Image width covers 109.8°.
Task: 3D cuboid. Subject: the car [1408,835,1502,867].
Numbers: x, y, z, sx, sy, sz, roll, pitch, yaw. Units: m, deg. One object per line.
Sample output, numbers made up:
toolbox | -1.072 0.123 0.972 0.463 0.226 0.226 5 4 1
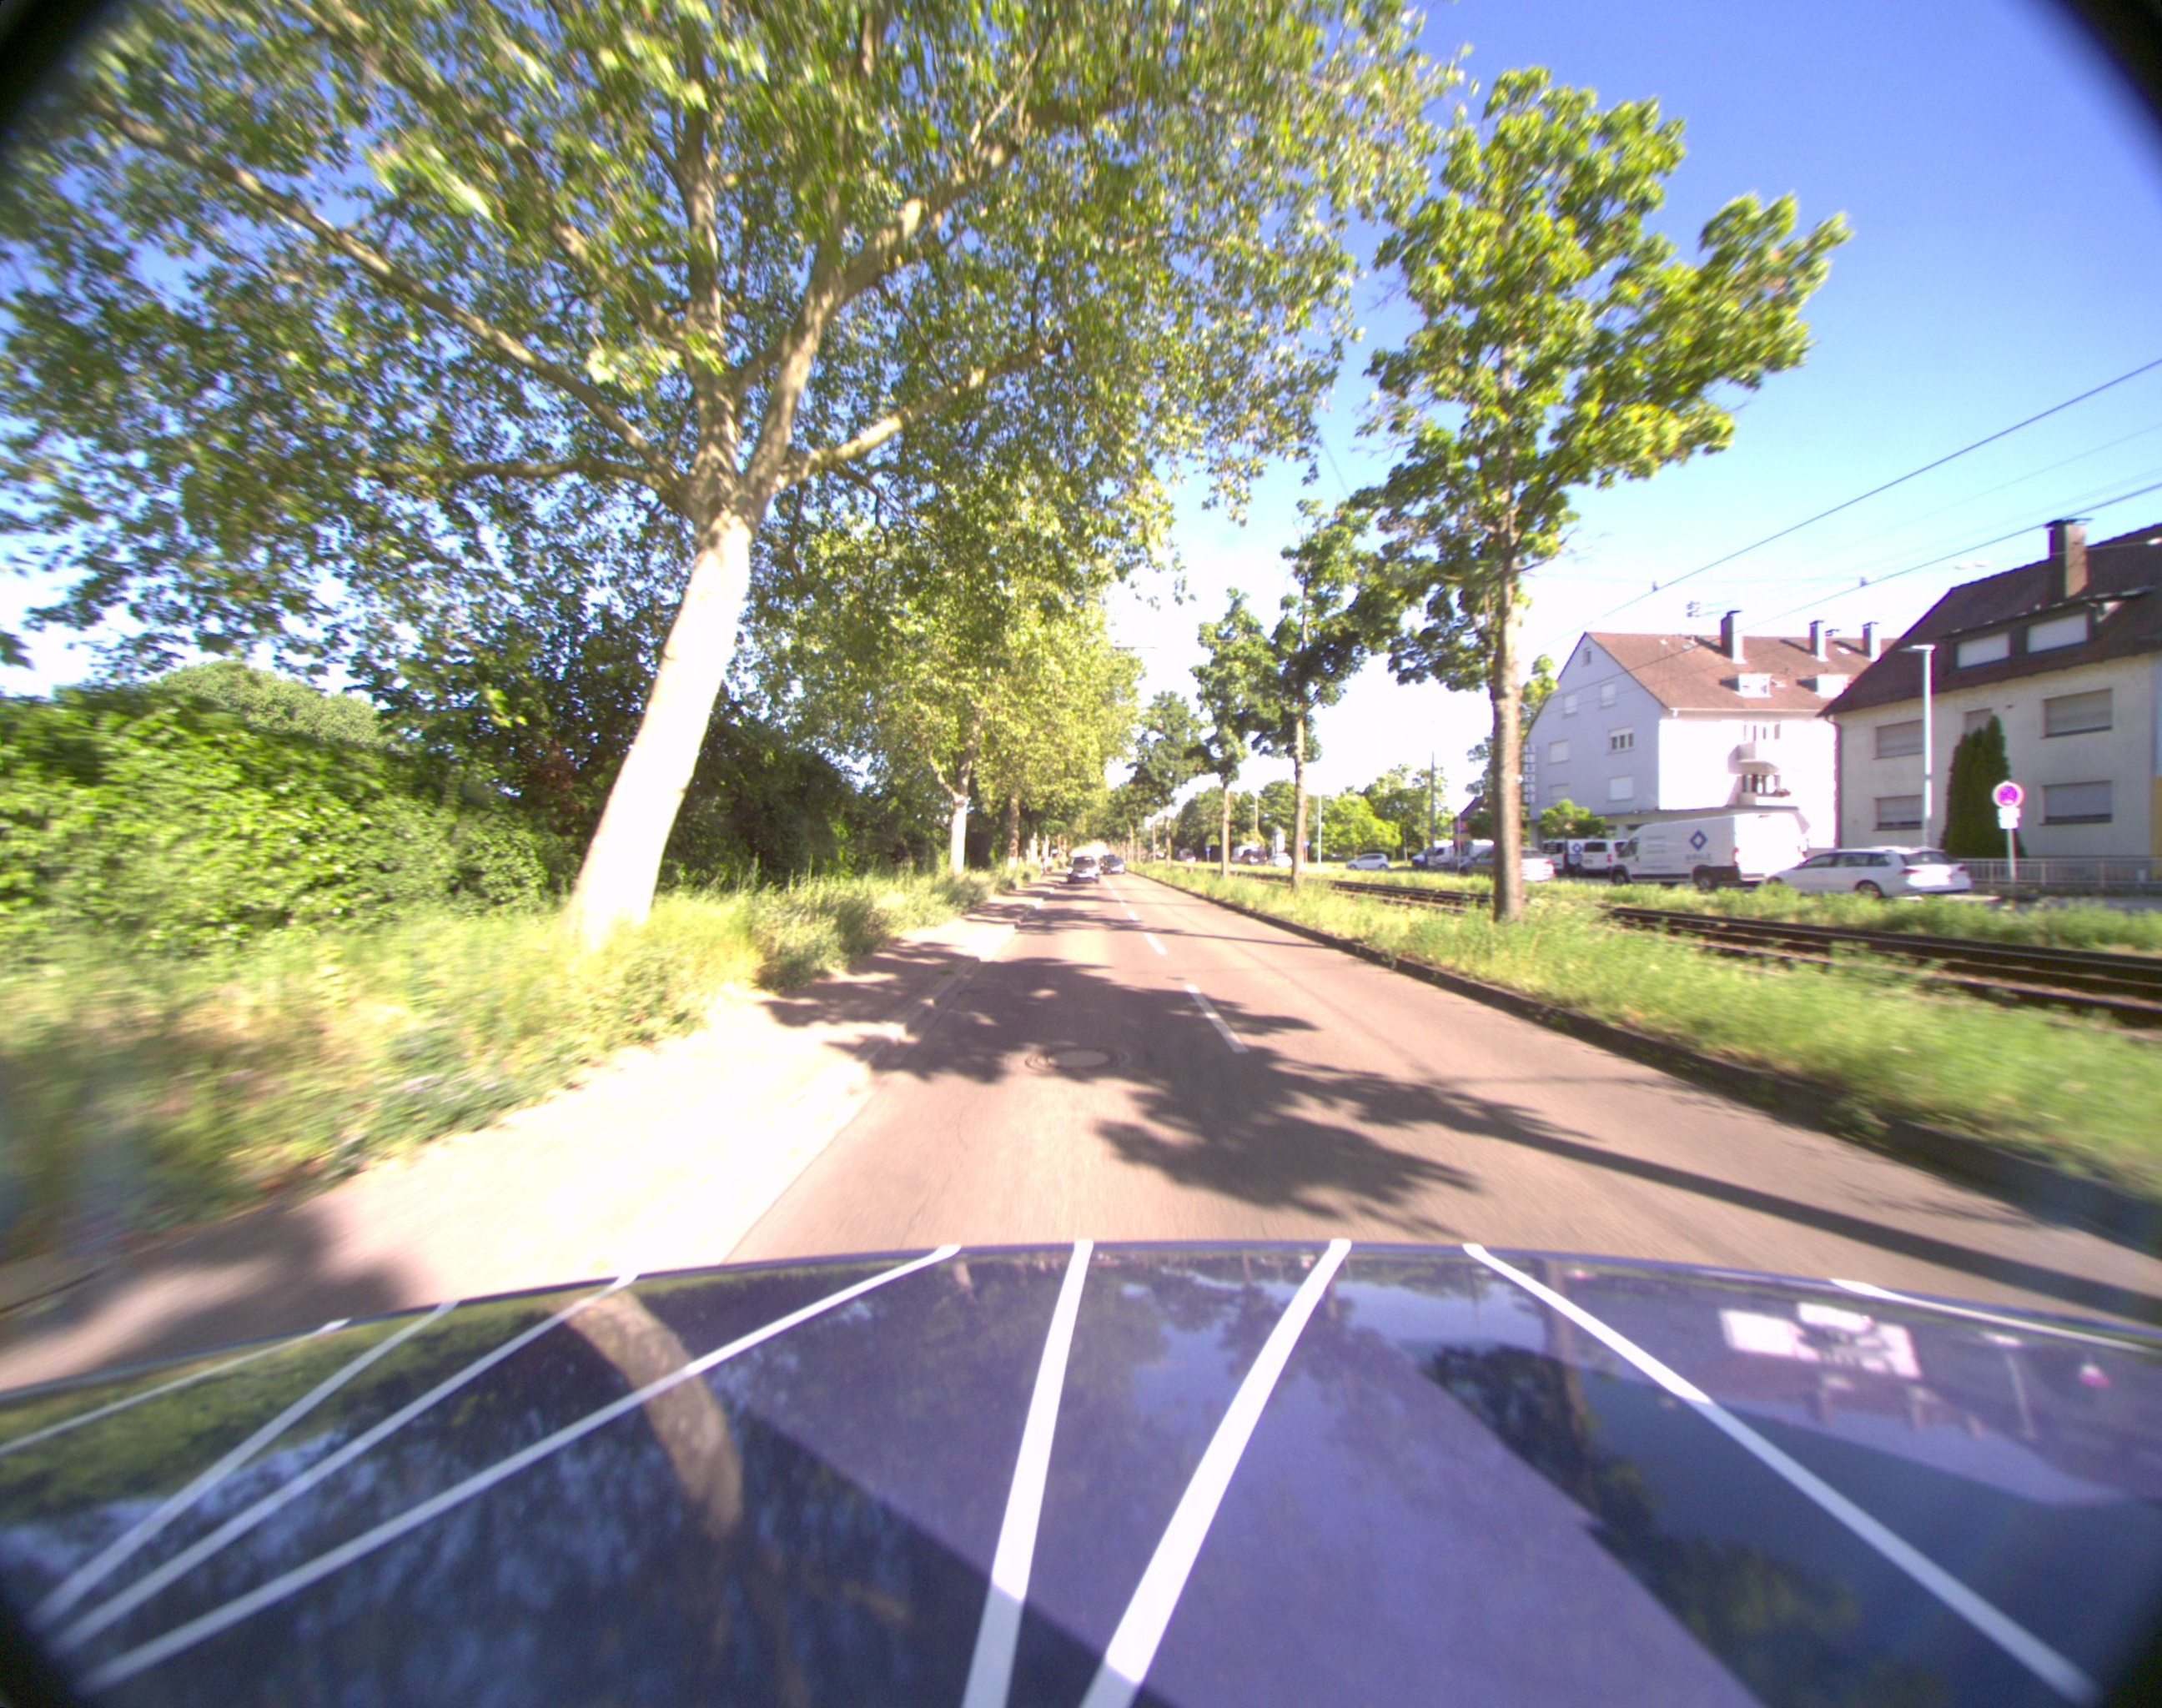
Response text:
car | 32.750 -0.255 66.616 7.086 2.493 2.329 -2 0 -4

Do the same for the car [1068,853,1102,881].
car | 0.241 0.716 43.513 1.808 1.478 3.546 -2 1 0

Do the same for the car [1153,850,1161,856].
car | 19.845 -0.241 198.236 1.998 1.522 3.751 -1 0 2

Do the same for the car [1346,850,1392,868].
car | 24.578 0.418 64.942 3.618 1.469 1.752 -1 0 18

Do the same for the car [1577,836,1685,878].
car | 27.324 0.152 37.800 4.151 1.941 1.998 -1 1 -10

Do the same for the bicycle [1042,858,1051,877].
bicycle | -2.182 0.866 48.258 0.441 1.146 1.823 -1 0 1

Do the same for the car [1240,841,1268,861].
car | 22.258 -0.436 97.948 2.188 2.362 6.464 -2 1 1

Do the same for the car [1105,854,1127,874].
car | 2.870 0.818 62.471 1.714 1.478 3.546 -2 1 2

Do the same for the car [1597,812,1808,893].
car | 21.580 -0.079 26.946 1.998 2.445 6.673 -2 1 0

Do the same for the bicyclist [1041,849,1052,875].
bicyclist | -2.211 0.508 48.245 0.615 1.619 0.909 -1 1 1

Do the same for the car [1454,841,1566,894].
car | 16.728 0.470 29.902 1.920 1.872 4.523 -2 1 2

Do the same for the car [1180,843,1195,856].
car | 22.979 -1.000 163.799 2.231 2.565 6.798 -2 0 1

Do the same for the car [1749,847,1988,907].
car | 21.567 0.549 21.156 1.829 1.404 4.657 -2 1 0

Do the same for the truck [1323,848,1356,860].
truck | 44.064 -0.011 129.579 4.946 1.858 2.080 -2 1 -19

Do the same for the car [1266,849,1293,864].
car | 22.184 0.262 85.087 1.827 1.598 4.773 -2 1 1

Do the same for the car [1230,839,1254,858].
car | 22.471 -0.835 106.339 2.007 2.482 6.136 -2 1 0

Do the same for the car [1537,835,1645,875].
car | 27.013 0.048 40.276 4.633 1.934 1.998 -1 1 -10

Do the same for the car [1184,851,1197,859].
car | 18.110 0.146 125.590 1.680 1.401 4.000 -1 0 1
